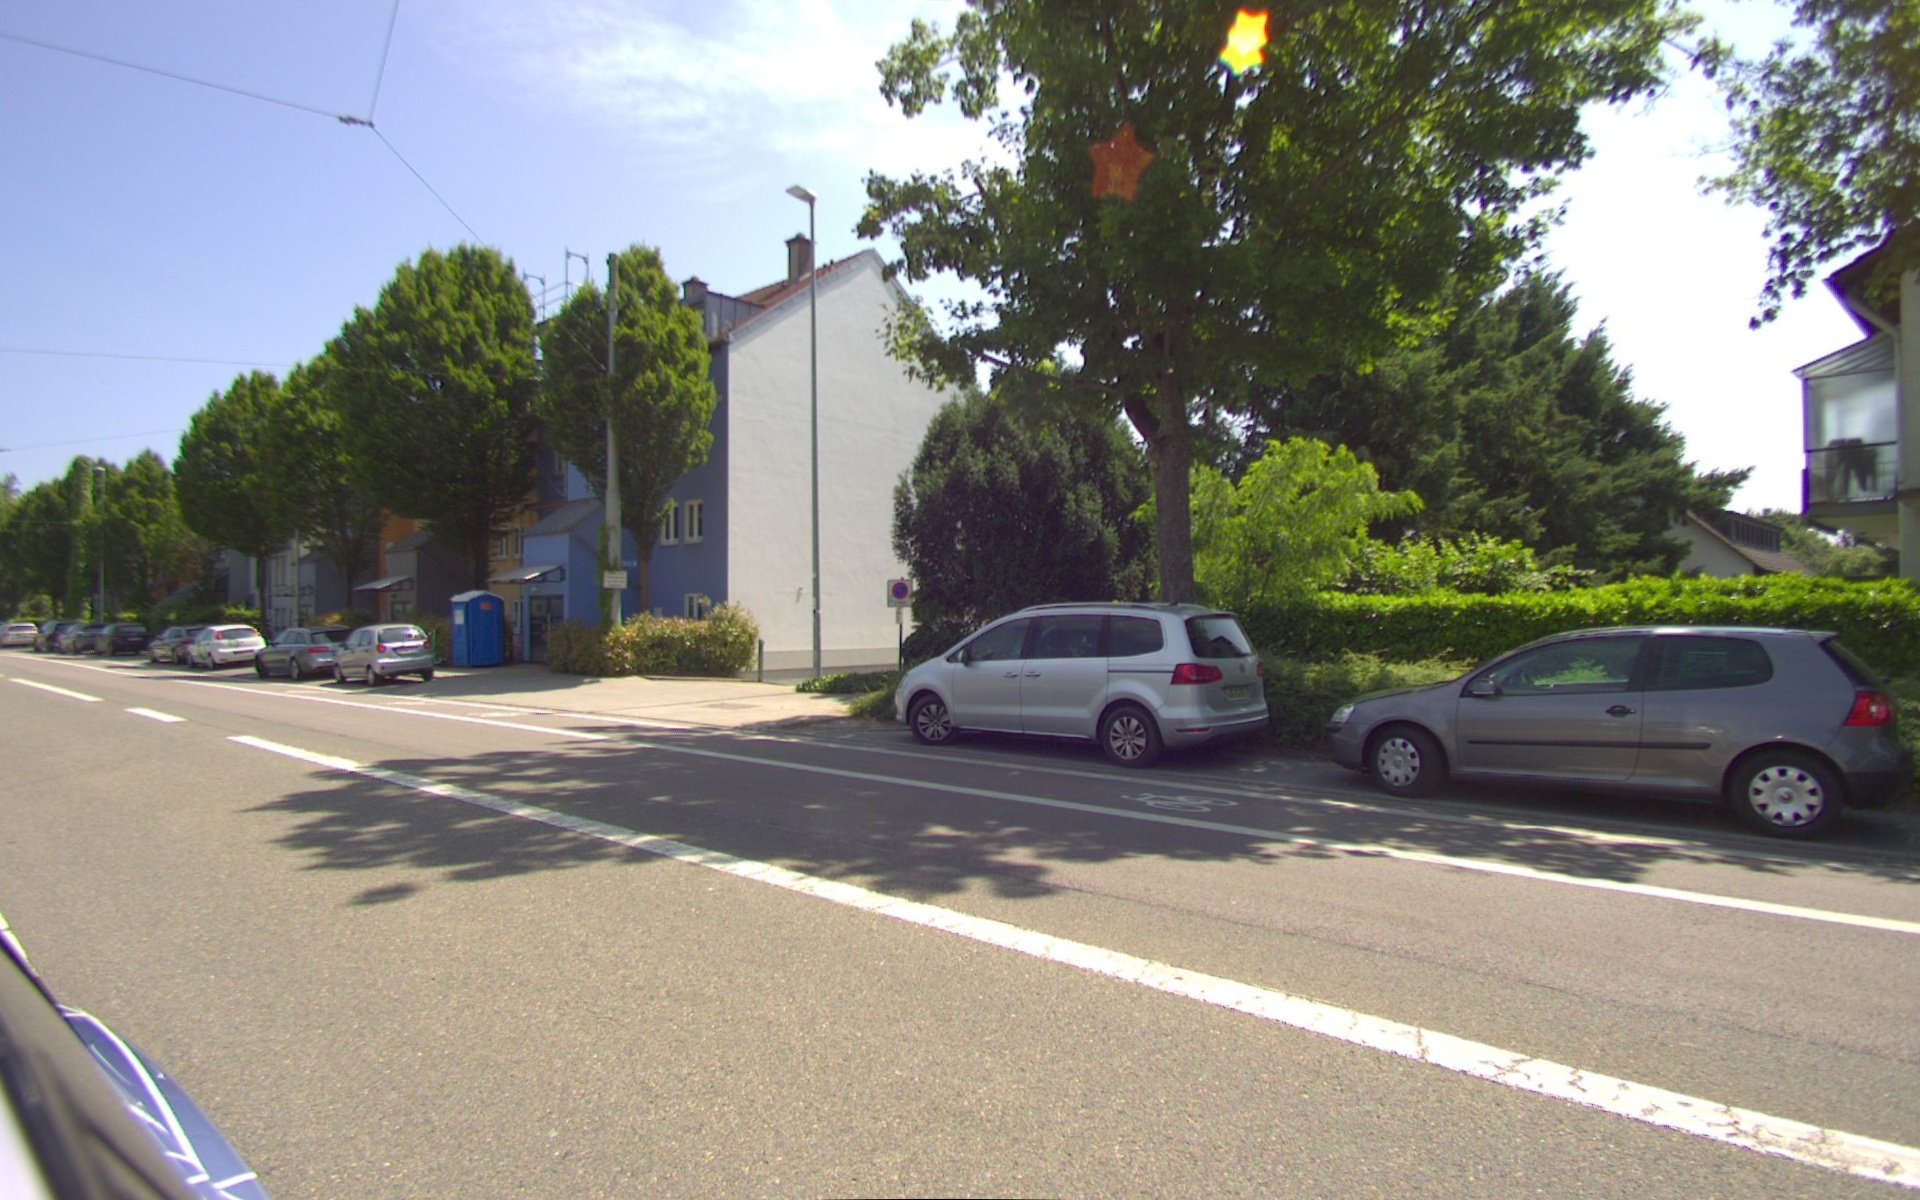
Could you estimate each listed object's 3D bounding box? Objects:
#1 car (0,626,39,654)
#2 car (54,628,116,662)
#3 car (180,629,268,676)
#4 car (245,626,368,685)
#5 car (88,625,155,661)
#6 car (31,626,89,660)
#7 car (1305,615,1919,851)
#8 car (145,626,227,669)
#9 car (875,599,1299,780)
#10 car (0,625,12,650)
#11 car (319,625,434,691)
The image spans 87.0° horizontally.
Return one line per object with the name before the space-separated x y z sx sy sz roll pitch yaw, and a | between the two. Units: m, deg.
car | -56.989 2.391 60.873 4.078 1.507 1.702 -1 2 39
car | -43.292 2.190 50.045 4.078 1.507 1.636 -1 2 39
car | -26.440 1.838 36.319 3.646 1.507 1.636 -1 2 39
car | -19.202 1.574 29.652 4.634 1.507 1.660 -1 2 39
car | -39.130 1.960 47.197 4.078 1.507 1.636 -1 2 39
car | -47.762 2.249 53.675 4.078 1.599 1.636 -1 2 39
car | 5.226 0.902 8.429 4.125 1.498 1.659 -1 -1 40
car | -30.578 1.820 39.930 4.078 1.507 1.636 -1 2 39
car | 1.317 0.890 11.908 4.686 1.701 1.950 -1 -1 42
car | -61.618 2.401 64.097 3.467 1.507 1.842 -1 2 39
car | -15.218 1.469 26.347 3.279 1.507 1.487 -1 2 39
